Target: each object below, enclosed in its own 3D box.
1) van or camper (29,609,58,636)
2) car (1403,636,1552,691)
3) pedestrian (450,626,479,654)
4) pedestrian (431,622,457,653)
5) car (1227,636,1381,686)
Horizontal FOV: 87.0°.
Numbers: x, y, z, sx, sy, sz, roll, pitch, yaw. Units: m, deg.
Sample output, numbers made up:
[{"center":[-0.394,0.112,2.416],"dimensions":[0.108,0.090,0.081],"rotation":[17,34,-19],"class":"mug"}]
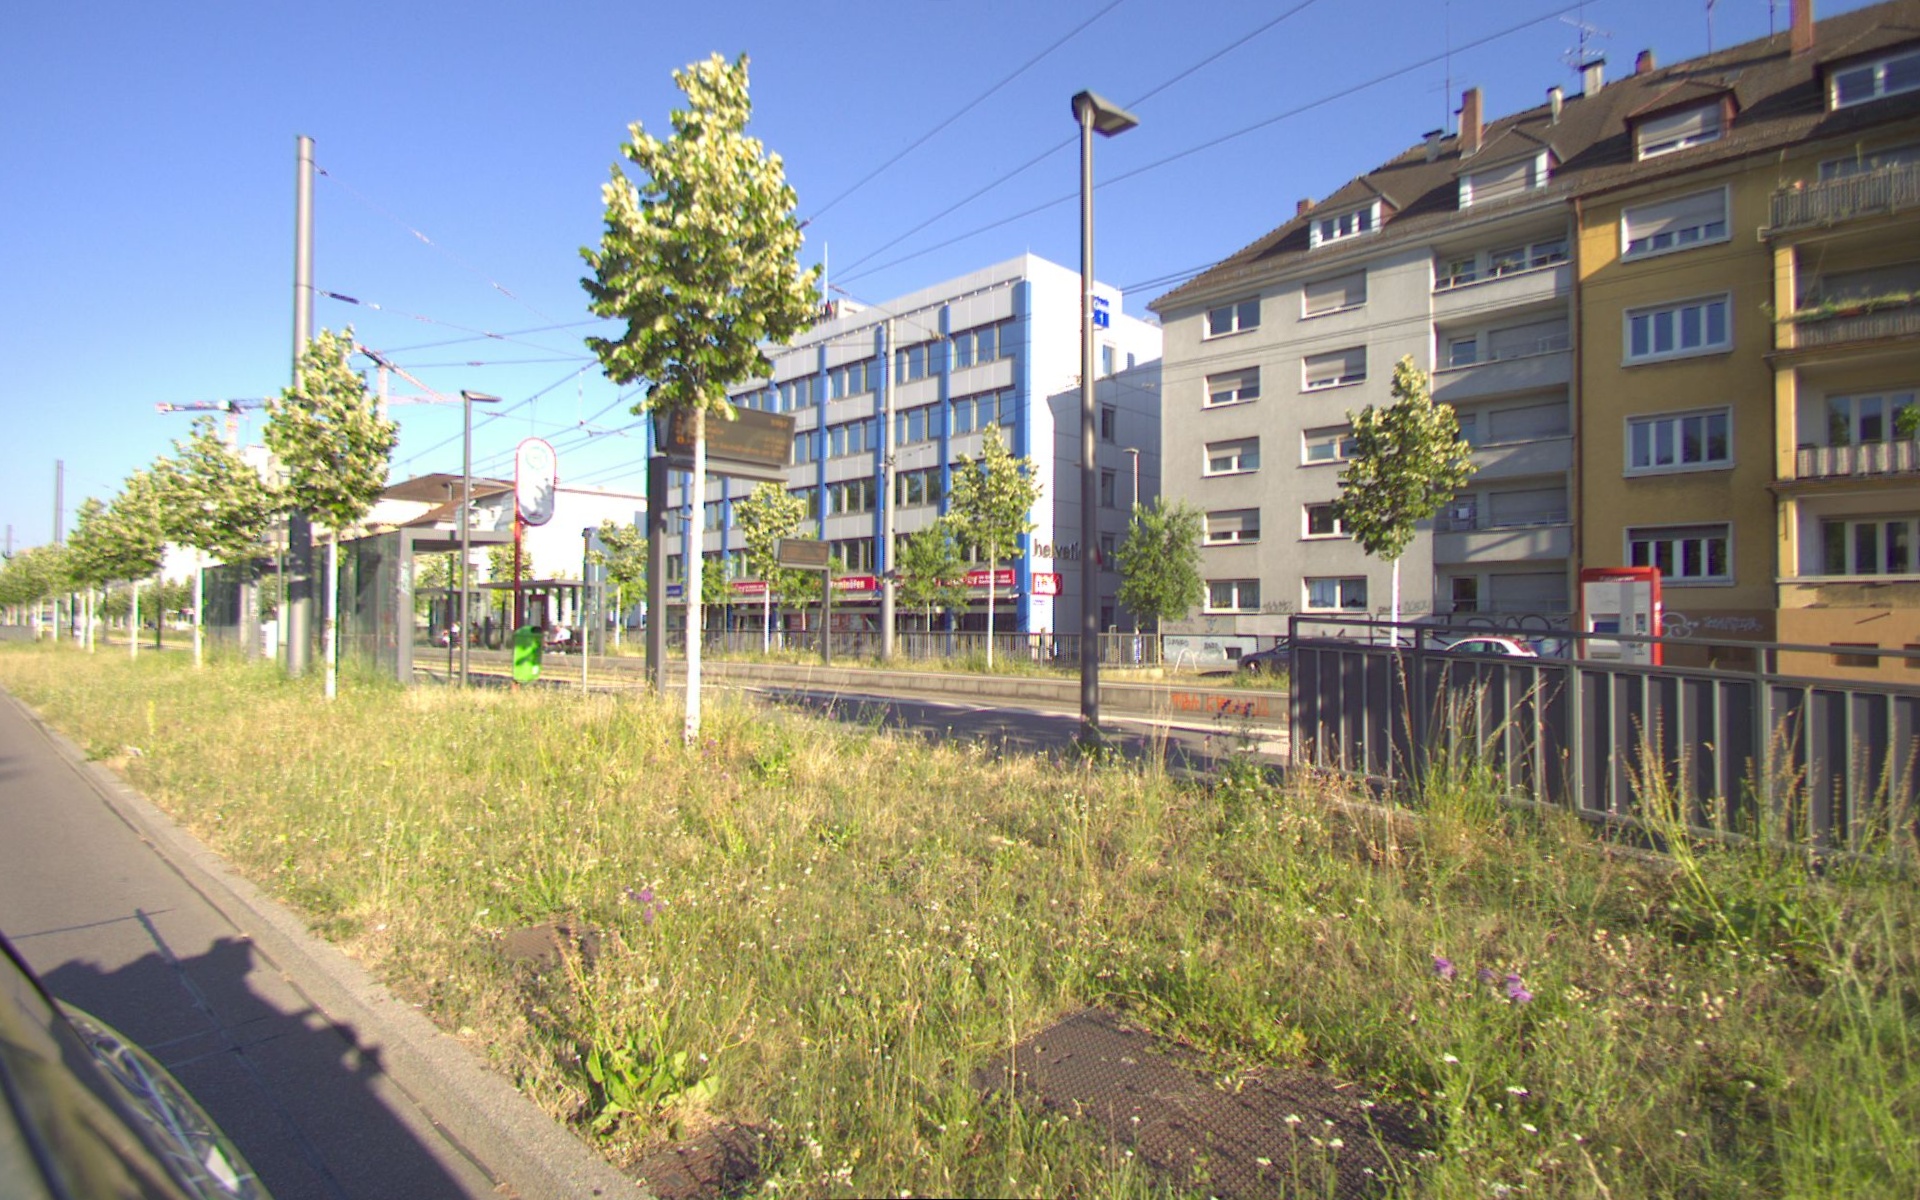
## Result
[{"center":[-110.441,2.700,121.971],"dimensions":[2.475,3.192,7.483],"rotation":[1,-2,-43],"class":"van or camper"},{"center":[15.153,1.816,29.732],"dimensions":[3.553,1.497,1.728],"rotation":[-1,-3,44],"class":"car"},{"center":[-21.944,1.765,44.831],"dimensions":[0.764,1.206,0.923],"rotation":[-2,-3,43],"class":"pedestrian"},{"center":[-23.766,1.738,46.650],"dimensions":[0.804,1.421,0.829],"rotation":[-2,-3,44],"class":"pedestrian"},{"center":[11.311,1.948,33.471],"dimensions":[4.432,1.519,1.971],"rotation":[-1,-3,44],"class":"car"}]
